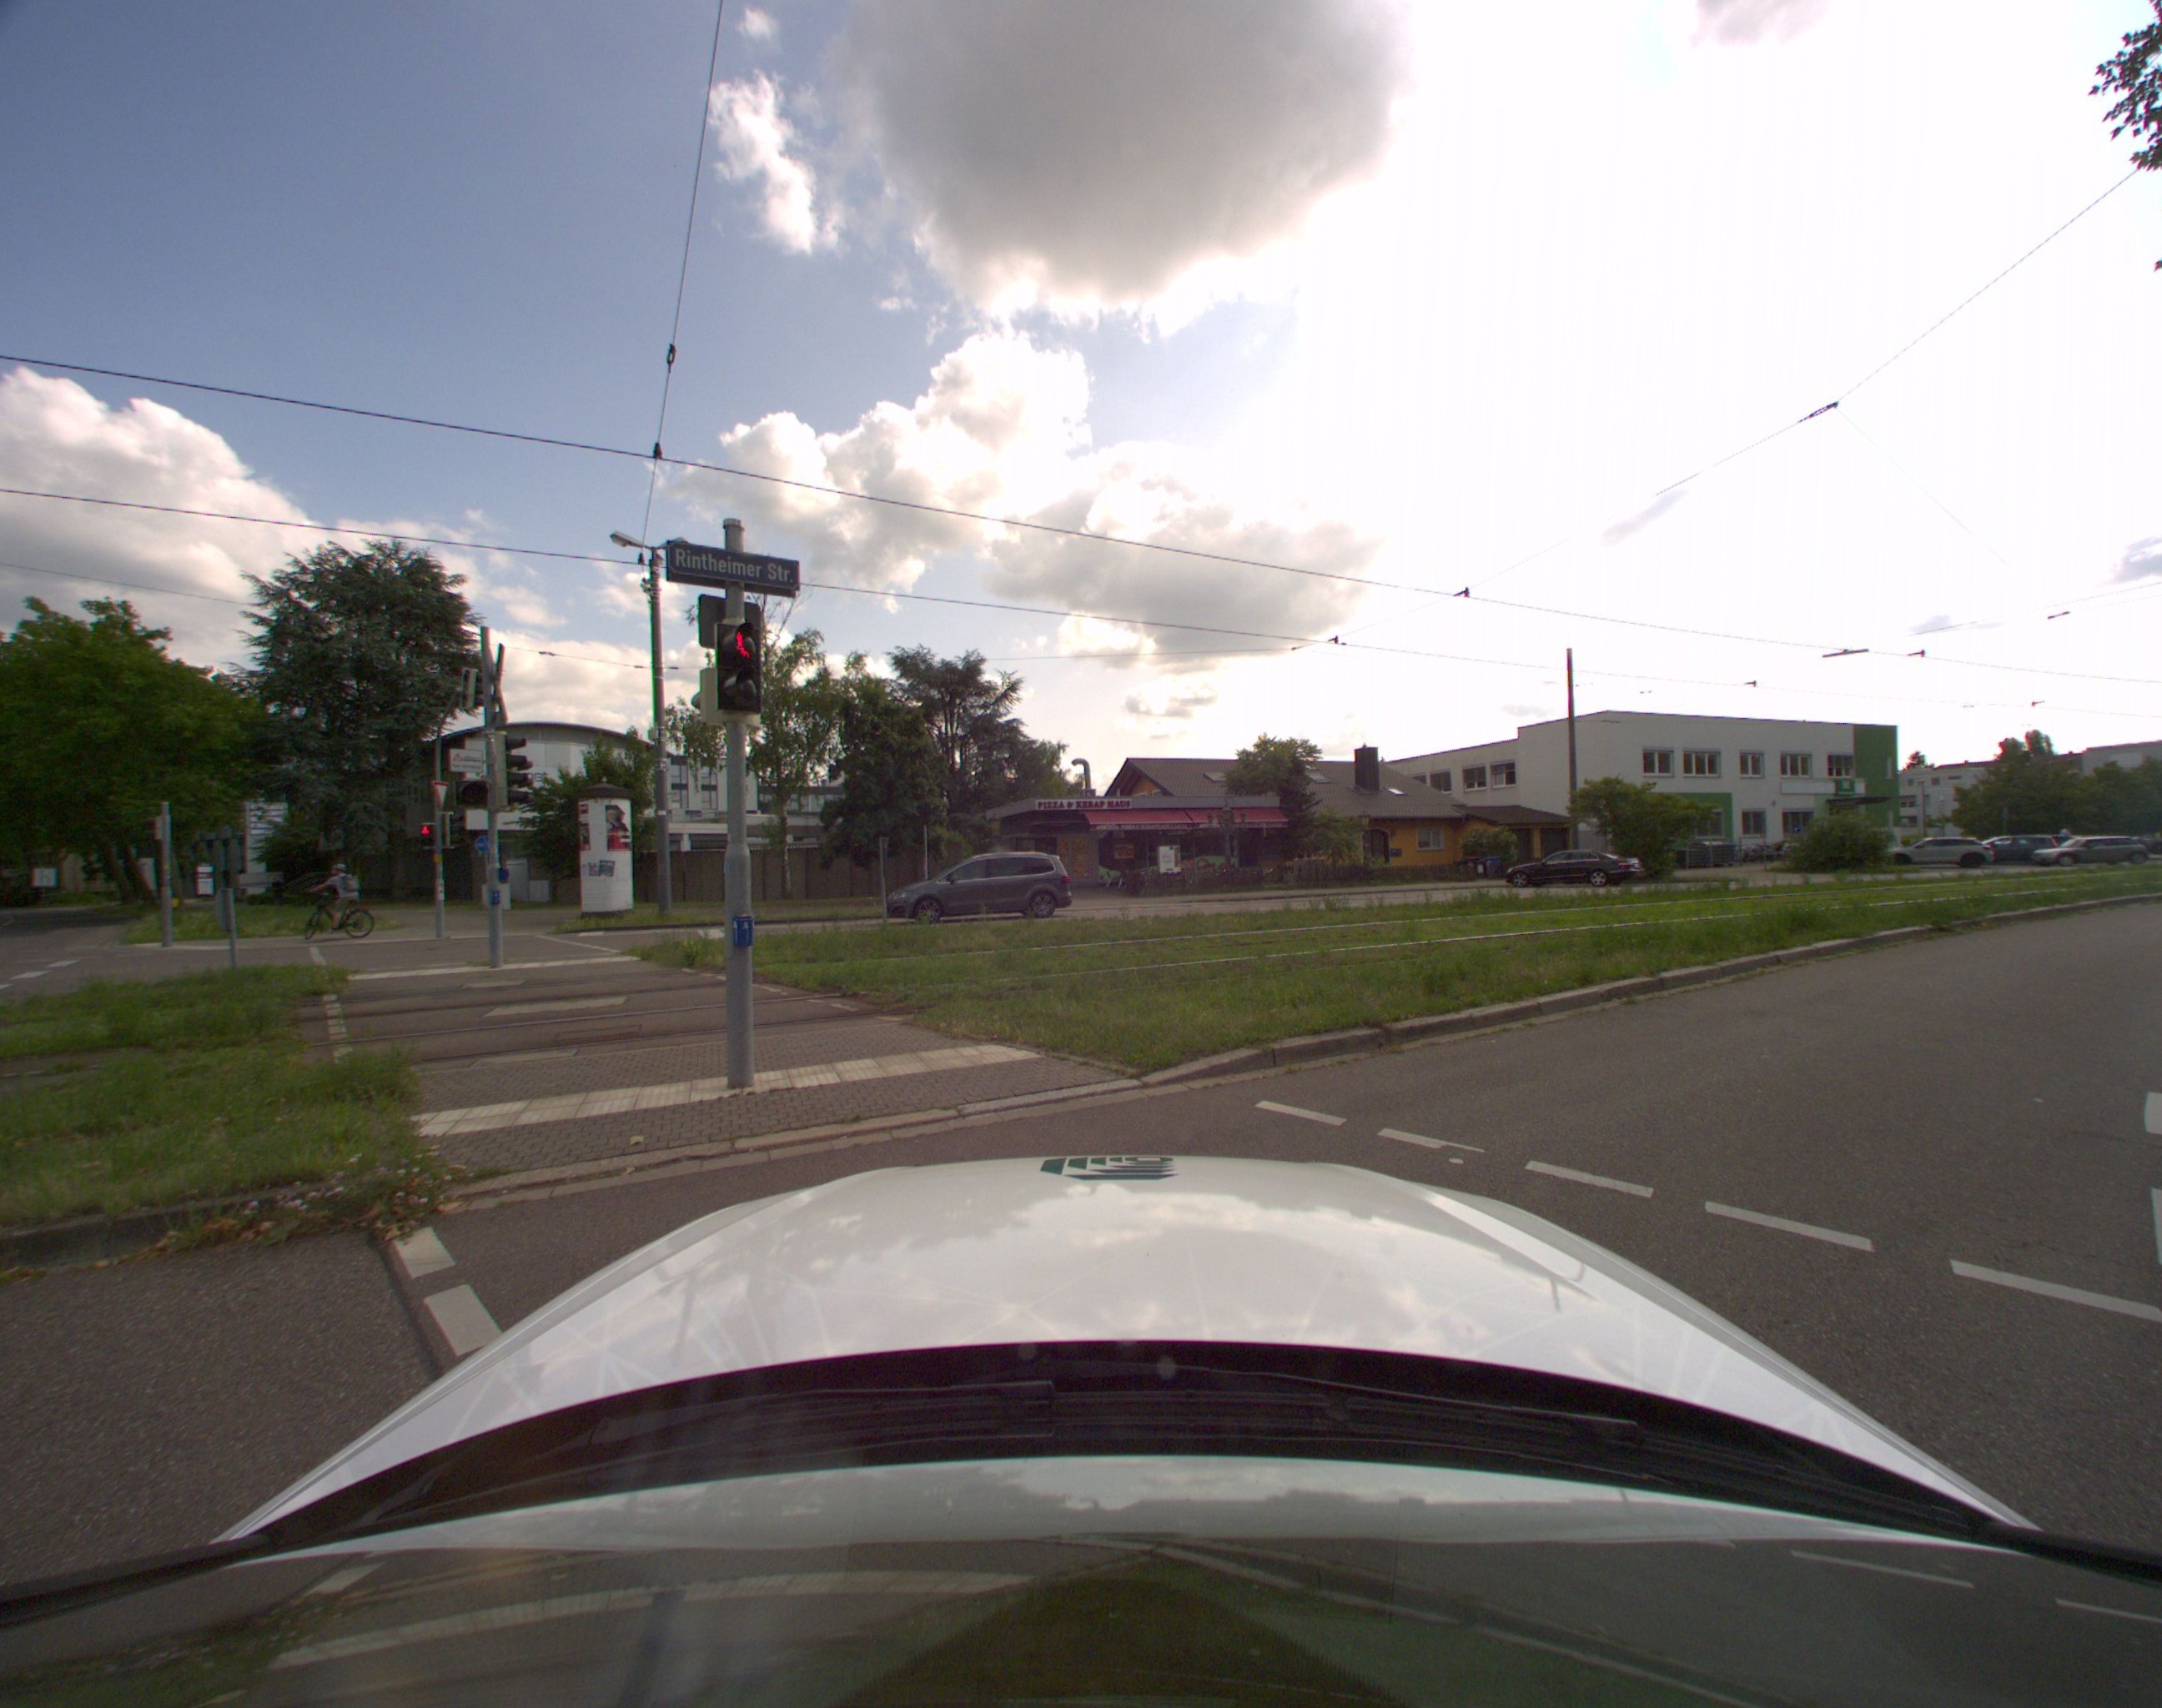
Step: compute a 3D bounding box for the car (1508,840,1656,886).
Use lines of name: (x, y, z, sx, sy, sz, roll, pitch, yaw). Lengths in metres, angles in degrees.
car: (19.617, 0.388, 32.056, 2.010, 1.580, 4.526, -1, -2, -39)

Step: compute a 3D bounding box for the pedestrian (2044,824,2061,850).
pedestrian: (65.012, -1.134, 54.495, 0.542, 1.674, 0.592, -1, -1, -28)

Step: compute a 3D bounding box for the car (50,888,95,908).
car: (-91.958, 4.020, 74.243, 3.949, 1.574, 2.013, 0, 1, 31)

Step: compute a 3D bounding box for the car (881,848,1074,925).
car: (-2.737, 0.792, 21.350, 4.736, 1.722, 1.988, -2, 0, -17)

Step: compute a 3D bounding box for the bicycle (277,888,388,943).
bicycle: (-18.855, 1.530, 20.568, 1.956, 1.235, 0.536, -1, 1, -26)

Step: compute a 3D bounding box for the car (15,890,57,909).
car: (-102.271, 4.398, 79.685, 3.949, 1.574, 2.013, 0, 1, 31)

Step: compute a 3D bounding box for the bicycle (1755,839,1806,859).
bicycle: (43.425, -0.283, 50.588, 0.759, 1.166, 2.341, -2, 0, -14)

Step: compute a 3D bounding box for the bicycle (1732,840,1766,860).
bicycle: (41.031, -0.220, 50.032, 0.702, 1.166, 1.619, -2, 0, -3)

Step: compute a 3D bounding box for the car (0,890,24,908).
car: (-109.902, 4.601, 83.089, 3.949, 1.574, 2.013, 0, 1, 31)

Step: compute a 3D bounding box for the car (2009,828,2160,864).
car: (49.327, -0.375, 40.169, 4.262, 1.629, 1.913, -1, 0, 24)

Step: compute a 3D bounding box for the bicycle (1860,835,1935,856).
bicycle: (51.639, -0.527, 51.551, 1.143, 1.166, 3.119, -2, 0, -23)

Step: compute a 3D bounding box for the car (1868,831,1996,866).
car: (43.820, -0.286, 42.093, 4.259, 1.629, 1.914, -2, -1, 37)

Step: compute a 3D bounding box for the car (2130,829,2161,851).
car: (69.053, -0.946, 50.750, 1.913, 1.364, 4.262, -1, -1, -43)

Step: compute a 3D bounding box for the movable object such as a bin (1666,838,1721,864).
movable object such as a bin: (33.412, -0.153, 44.443, 2.115, 1.326, 1.369, -2, -1, -16)

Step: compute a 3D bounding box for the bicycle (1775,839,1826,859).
bicycle: (44.639, -0.288, 50.568, 0.746, 1.166, 2.408, -2, 0, -12)

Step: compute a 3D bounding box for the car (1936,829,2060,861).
car: (49.538, -0.480, 44.126, 4.260, 1.629, 1.914, -1, 0, 43)

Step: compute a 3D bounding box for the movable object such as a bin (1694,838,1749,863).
movable object such as a bin: (35.490, -0.186, 45.132, 2.129, 1.326, 1.369, -2, -1, -16)

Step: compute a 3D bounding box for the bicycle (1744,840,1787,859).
bicycle: (40.594, -0.273, 48.320, 0.737, 1.081, 1.784, -2, 0, -22)

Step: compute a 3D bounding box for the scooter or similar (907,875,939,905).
scooter or similar: (-5.833, 1.322, 30.117, 1.099, 1.059, 0.401, -1, 1, -5)

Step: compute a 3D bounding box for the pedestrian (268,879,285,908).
pedestrian: (-45.383, 2.230, 45.958, 0.552, 1.569, 0.626, 0, 1, 43)

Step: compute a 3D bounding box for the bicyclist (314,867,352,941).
bicyclist: (-18.859, 1.240, 20.542, 0.546, 1.809, 0.536, -1, 1, -25)
